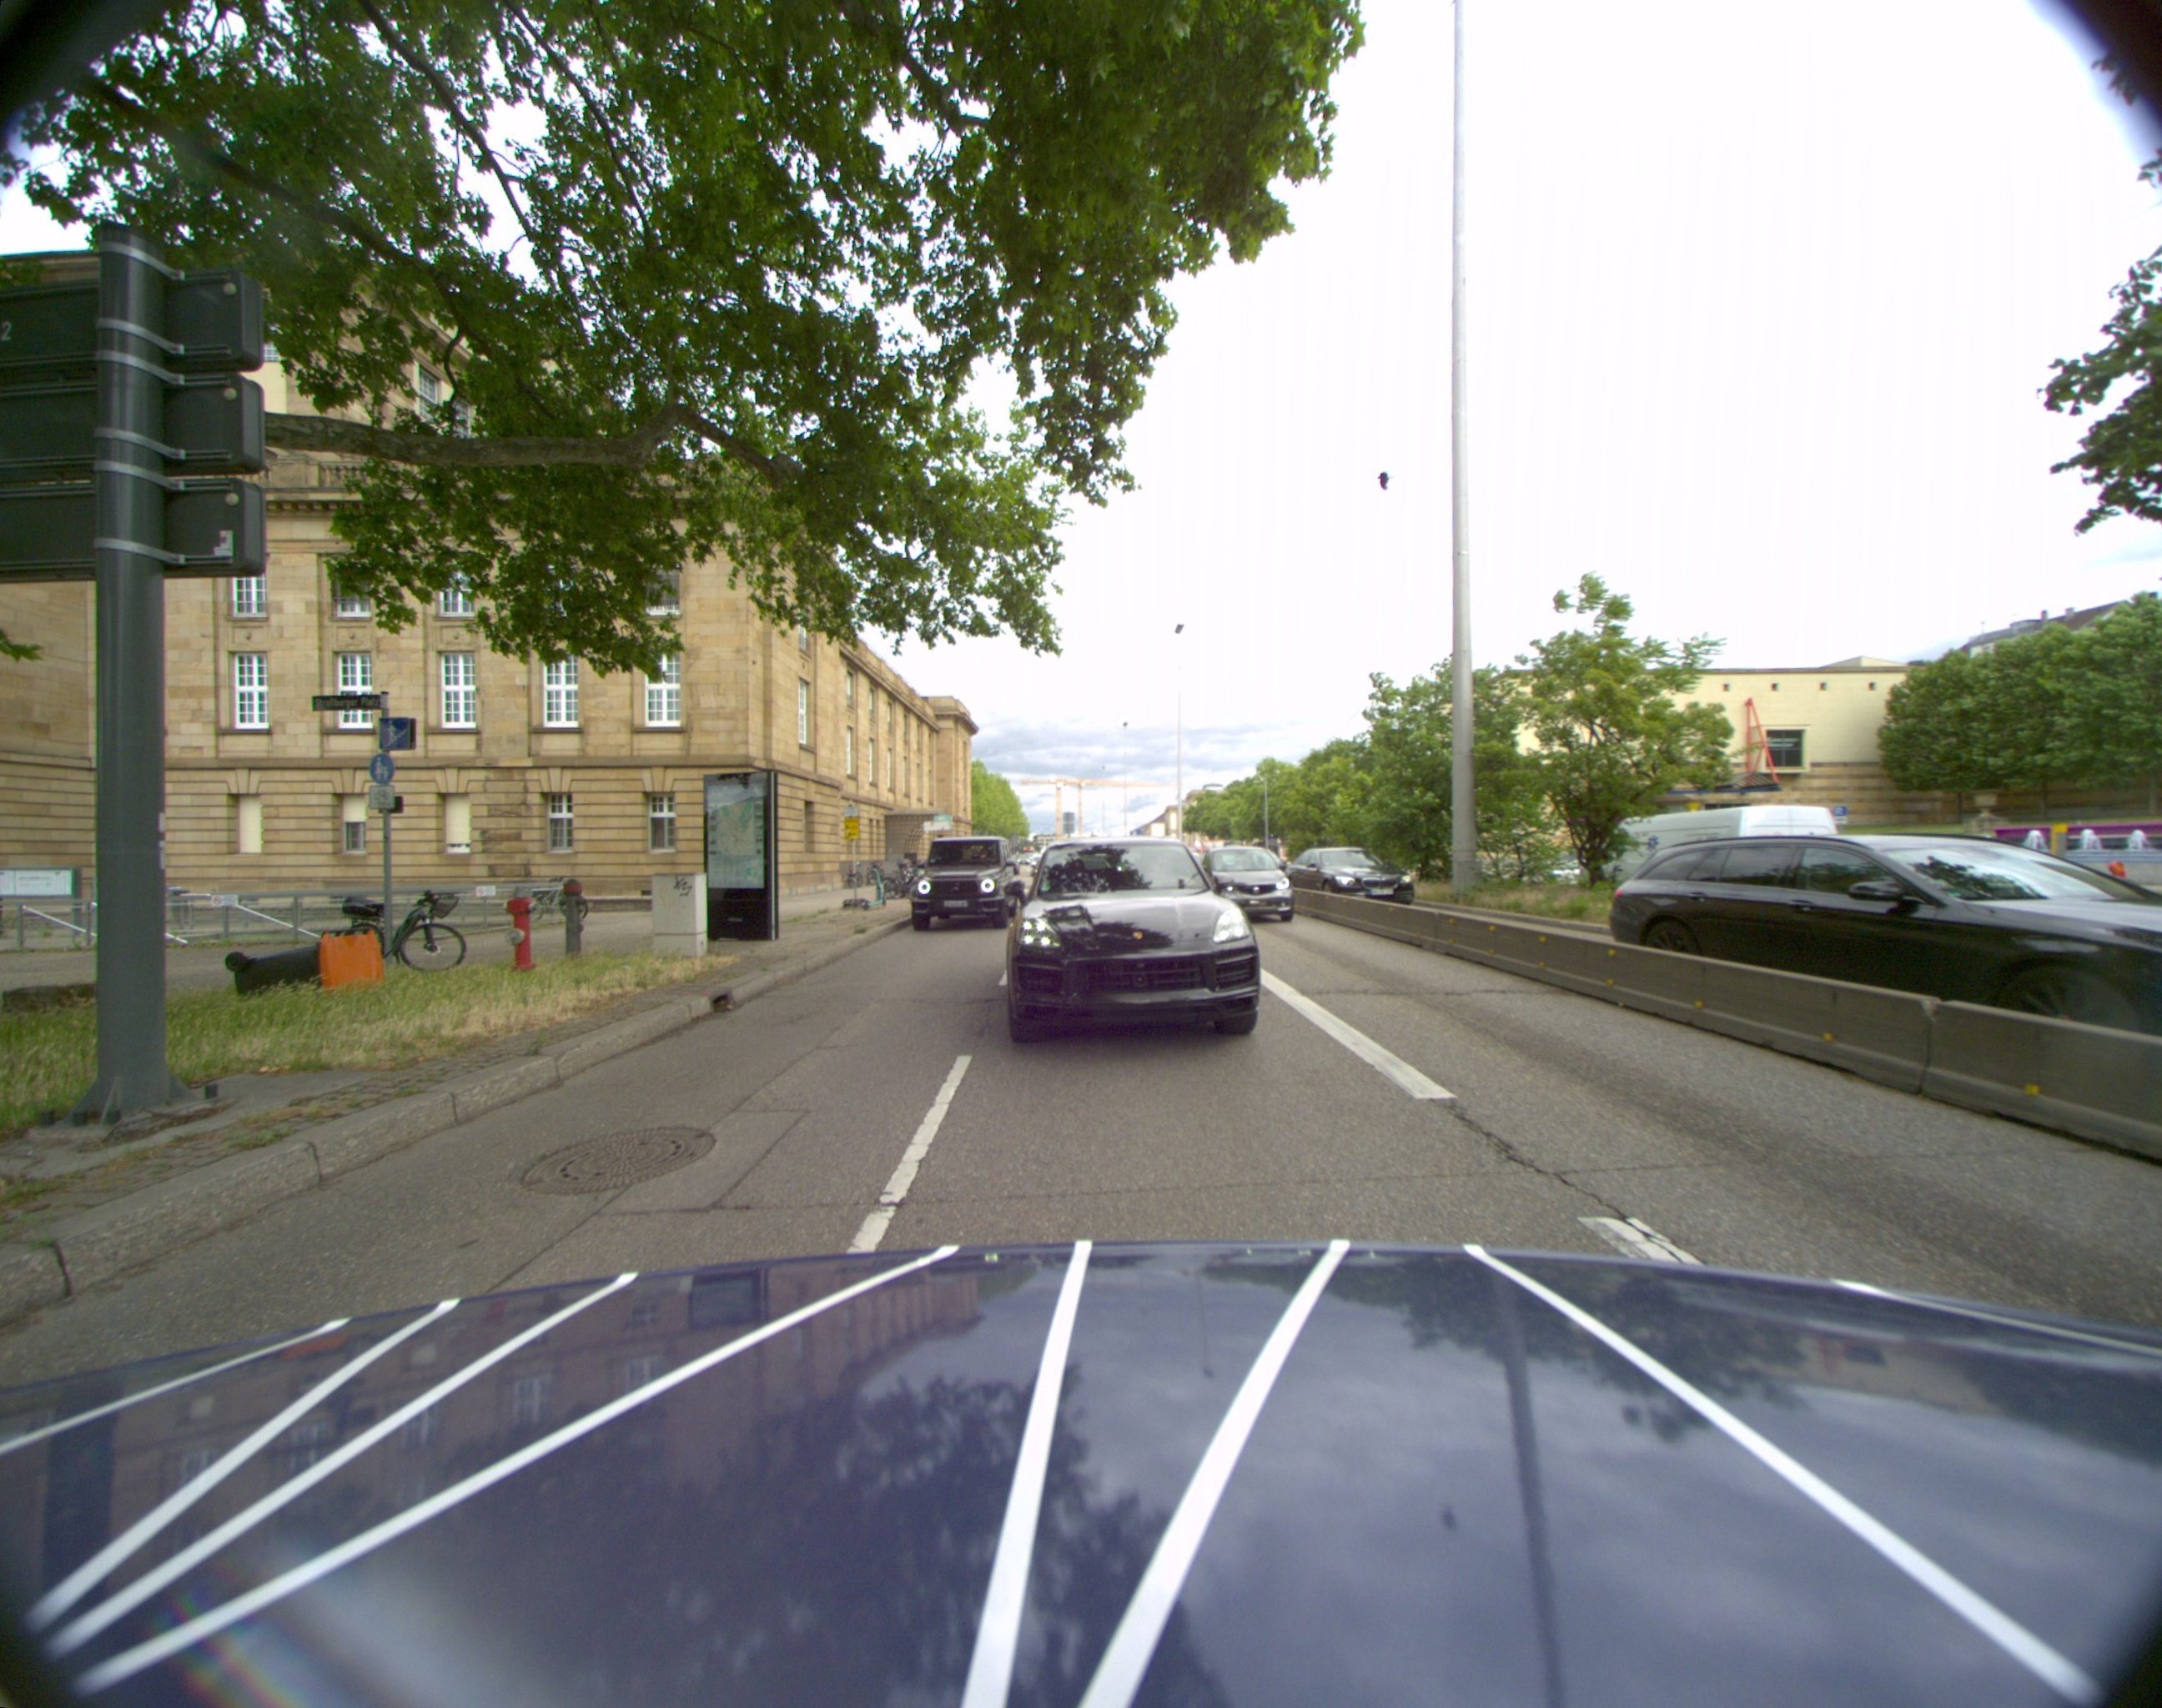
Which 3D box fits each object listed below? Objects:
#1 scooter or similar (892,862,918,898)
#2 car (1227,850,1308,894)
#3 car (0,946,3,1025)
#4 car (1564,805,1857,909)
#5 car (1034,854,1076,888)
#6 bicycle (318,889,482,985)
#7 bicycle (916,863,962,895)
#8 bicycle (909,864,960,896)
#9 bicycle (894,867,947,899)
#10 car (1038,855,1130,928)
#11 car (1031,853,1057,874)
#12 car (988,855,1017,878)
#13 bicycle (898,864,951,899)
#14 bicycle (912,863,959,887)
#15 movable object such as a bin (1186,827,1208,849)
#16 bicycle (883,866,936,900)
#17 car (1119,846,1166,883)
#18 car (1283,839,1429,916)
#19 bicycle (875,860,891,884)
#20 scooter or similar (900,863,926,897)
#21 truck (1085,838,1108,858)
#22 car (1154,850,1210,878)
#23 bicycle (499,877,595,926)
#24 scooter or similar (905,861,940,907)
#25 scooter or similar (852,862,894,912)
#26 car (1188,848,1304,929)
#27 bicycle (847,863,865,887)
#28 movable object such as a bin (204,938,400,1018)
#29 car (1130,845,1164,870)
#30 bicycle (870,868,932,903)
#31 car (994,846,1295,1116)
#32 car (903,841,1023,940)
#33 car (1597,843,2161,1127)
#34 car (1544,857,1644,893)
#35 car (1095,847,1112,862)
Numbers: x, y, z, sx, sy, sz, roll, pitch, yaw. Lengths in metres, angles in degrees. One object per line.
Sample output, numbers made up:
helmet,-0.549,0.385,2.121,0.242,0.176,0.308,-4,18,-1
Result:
scooter or similar,-6.644,0.974,28.787,0.563,1.271,1.148,-2,0,6
car,6.781,0.619,28.017,1.664,1.446,4.196,-2,1,-4
car,-13.144,1.034,7.063,3.845,1.559,1.679,-1,0,1
car,13.809,0.047,17.323,2.121,1.958,5.578,-1,0,1
car,-1.241,0.784,36.994,1.930,1.501,3.999,-1,0,-1
bicycle,-9.173,1.106,10.259,1.789,1.214,0.492,-1,1,3
bicycle,-5.326,0.914,28.526,1.616,1.123,0.407,-2,1,-25
bicycle,-5.150,0.922,26.681,1.731,1.085,0.381,-2,1,13
bicycle,-5.727,1.026,27.132,1.731,1.085,0.575,-2,1,9
car,0.025,0.784,18.046,1.930,1.501,3.999,-1,0,-1
car,-2.855,0.688,58.325,1.931,1.501,3.999,-1,0,-3
car,-5.440,0.840,52.790,1.620,1.447,3.858,0,0,0
bicycle,-5.664,0.992,27.588,1.762,1.202,0.604,-2,1,-3
bicycle,-5.723,0.816,29.951,1.730,0.912,0.614,-1,1,19
movable object such as a bin,12.024,-1.641,78.997,1.526,2.172,3.291,-1,0,-4
bicycle,-5.914,0.993,26.167,1.731,1.085,0.426,-2,1,13
car,2.877,0.456,36.141,1.690,1.646,3.998,-2,1,-3
car,6.583,0.485,18.864,1.928,1.626,4.936,-2,1,2
bicycle,-10.102,0.907,38.743,0.276,1.176,1.538,-2,1,3
scooter or similar,-6.349,0.964,28.713,0.426,1.217,1.313,-2,1,11
truck,2.068,-0.826,105.791,2.978,2.757,7.254,0,0,0
car,5.778,0.558,44.084,1.884,1.473,4.700,-2,1,-9
bicycle,-12.990,1.155,18.503,2.016,1.119,0.389,-1,1,0
scooter or similar,-4.860,0.910,23.337,0.727,1.324,1.413,-2,1,0
scooter or similar,-5.620,0.878,20.600,0.432,1.273,1.435,-2,1,12
car,3.461,0.650,16.676,1.690,1.496,3.999,-1,1,1
bicycle,-10.105,0.942,34.162,0.241,0.992,1.962,-1,1,0
movable object such as a bin,-7.821,1.237,7.660,1.301,0.648,0.729,-3,1,9
car,4.637,0.216,53.934,1.781,1.611,4.044,-2,1,-5
bicycle,-6.043,1.052,25.545,1.860,1.085,0.666,-2,1,13
car,0.205,0.786,6.896,1.909,1.648,4.198,-1,0,-6
car,-2.473,0.708,17.047,1.952,1.914,4.399,-1,0,0
car,6.630,0.679,5.967,1.821,1.490,4.767,-1,1,-2
car,23.327,0.898,34.758,1.649,1.518,4.523,-1,0,2
car,2.843,0.059,96.342,1.843,1.751,4.479,0,0,-2
